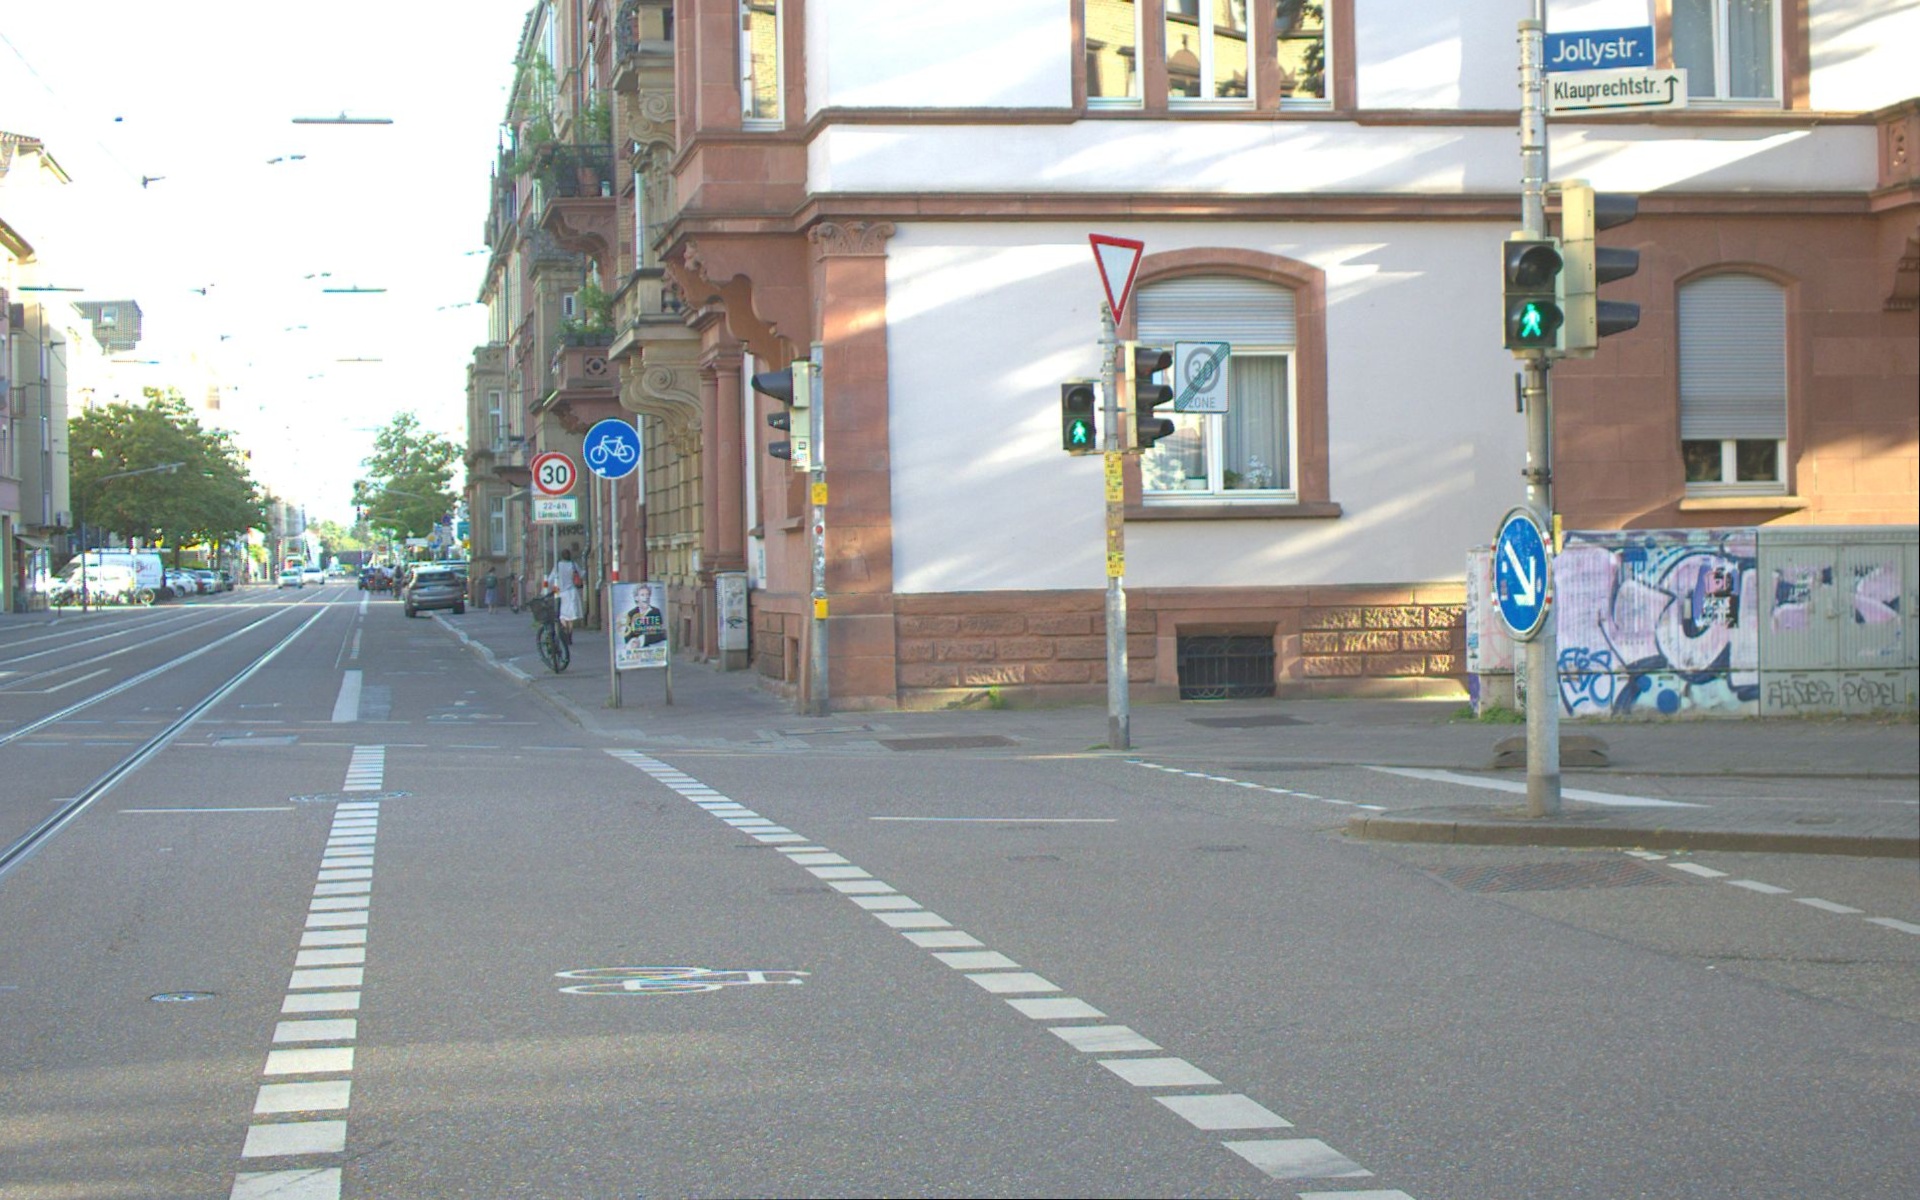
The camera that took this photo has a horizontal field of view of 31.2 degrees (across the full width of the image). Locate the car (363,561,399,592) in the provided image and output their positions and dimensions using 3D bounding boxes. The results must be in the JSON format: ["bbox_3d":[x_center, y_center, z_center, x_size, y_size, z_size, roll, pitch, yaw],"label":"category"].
[{"bbox_3d":[-32.714,-1.321,194.247,1.993,1.722,4.001,0,0,-10],"label":"car"}]

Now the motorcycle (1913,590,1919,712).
[{"bbox_3d":[8.375,0.474,27.915,0.719,1.016,2.287,-1,3,2],"label":"motorcycle"}]

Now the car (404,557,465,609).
[{"bbox_3d":[-17.503,-0.583,114.638,1.949,1.678,4.001,-1,1,-8],"label":"car"}]

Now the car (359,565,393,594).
[{"bbox_3d":[-35.205,-1.252,207.421,1.993,1.722,4.001,0,0,-9],"label":"car"}]

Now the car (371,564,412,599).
[{"bbox_3d":[-28.232,-0.926,170.665,1.993,1.722,4.001,0,0,-10],"label":"car"}]

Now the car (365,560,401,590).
[{"bbox_3d":[-33.484,-1.429,199.354,1.993,1.722,4.001,0,0,-10],"label":"car"}]

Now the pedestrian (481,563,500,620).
[{"bbox_3d":[-14.692,-0.259,107.646,0.544,1.774,0.749,-1,1,-9],"label":"pedestrian"}]

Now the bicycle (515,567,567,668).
[{"bbox_3d":[-5.645,0.224,46.287,0.653,1.319,2.177,-1,1,-7],"label":"bicycle"}]

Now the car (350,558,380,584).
[{"bbox_3d":[-40.846,-1.990,235.917,1.993,1.722,4.001,0,0,-10],"label":"car"}]

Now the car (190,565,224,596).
[{"bbox_3d":[-48.929,-1.268,223.351,1.993,2.007,4.001,-1,1,-10],"label":"car"}]

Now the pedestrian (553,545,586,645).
[{"bbox_3d":[-6.998,-0.096,61.639,0.544,1.774,0.504,-1,1,-9],"label":"pedestrian"}]

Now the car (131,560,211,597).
[{"bbox_3d":[-45.162,-1.233,196.877,3.987,2.007,2.000,-1,1,-34],"label":"car"}]

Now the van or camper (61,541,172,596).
[{"bbox_3d":[-39.718,-1.474,161.907,4.636,2.554,1.999,0,0,-40],"label":"van or camper"}]
